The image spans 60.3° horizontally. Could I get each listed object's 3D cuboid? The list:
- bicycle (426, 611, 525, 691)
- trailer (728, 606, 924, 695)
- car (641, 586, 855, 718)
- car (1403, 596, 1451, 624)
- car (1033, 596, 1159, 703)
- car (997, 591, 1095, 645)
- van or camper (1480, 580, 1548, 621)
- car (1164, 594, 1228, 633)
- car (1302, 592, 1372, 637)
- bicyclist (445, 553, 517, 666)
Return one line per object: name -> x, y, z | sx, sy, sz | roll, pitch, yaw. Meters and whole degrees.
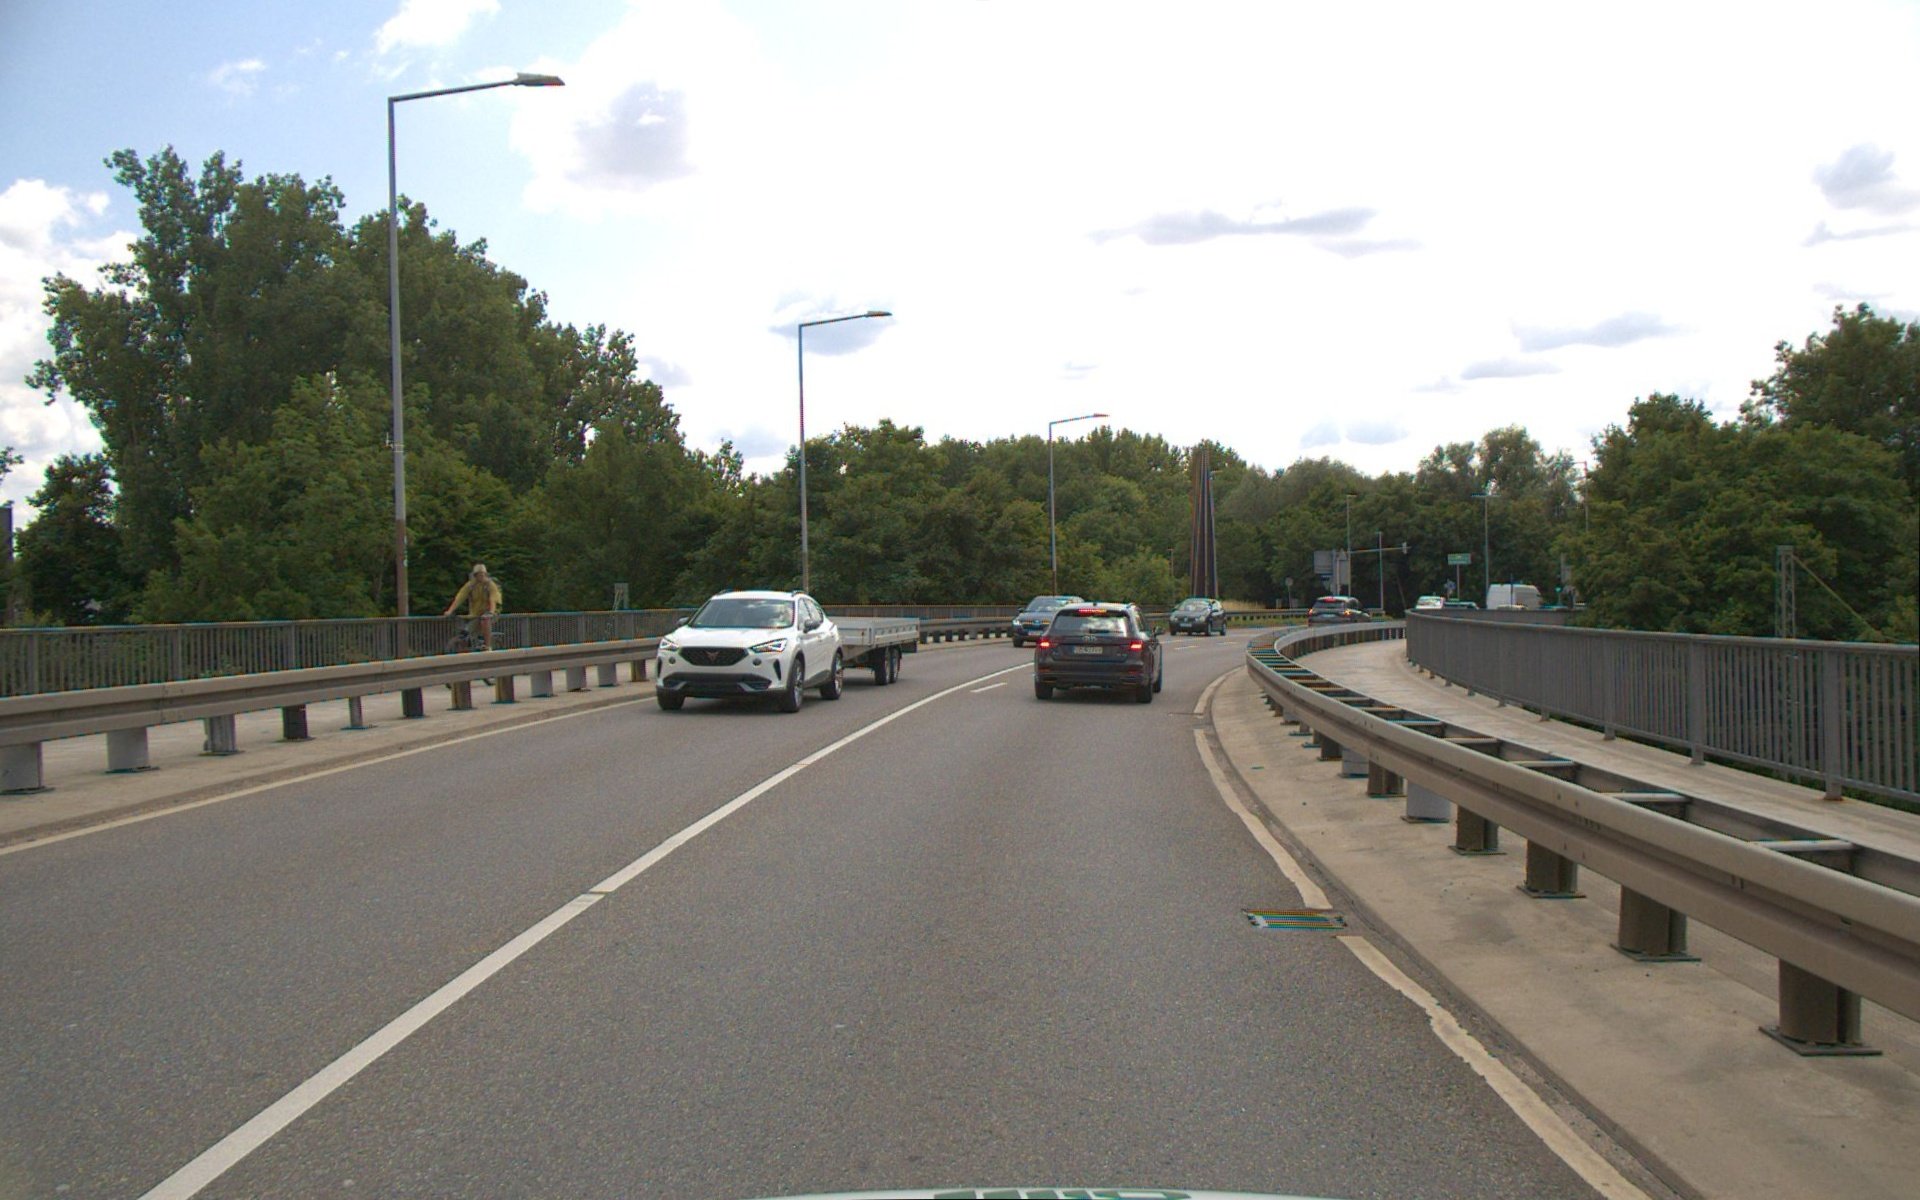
bicycle -> -7.051, 0.717, 24.184 | 0.753, 1.114, 2.116 | 0, 0, 2
trailer -> -2.054, 0.758, 27.429 | 2.001, 1.230, 5.988 | 1, 0, 8
car -> -2.722, 0.617, 22.268 | 1.768, 1.562, 4.352 | 1, 0, 8
car -> 30.591, 0.662, 108.293 | 1.782, 1.784, 4.291 | 1, 0, 34
car -> 2.163, 0.710, 25.839 | 1.789, 1.518, 4.209 | 1, 0, 6
car -> 2.624, 0.495, 49.168 | 1.779, 1.476, 4.740 | 1, 1, 17
van or camper -> 34.118, 0.028, 101.853 | 2.238, 2.381, 5.214 | 2, 1, 39
car -> 9.525, 0.534, 66.546 | 1.777, 1.477, 3.927 | 1, 0, 20
car -> 15.004, 0.574, 65.749 | 1.786, 1.680, 3.851 | 2, 1, 27
bicyclist -> -7.047, 0.135, 24.345 | 0.751, 1.630, 0.948 | 0, 0, 2
